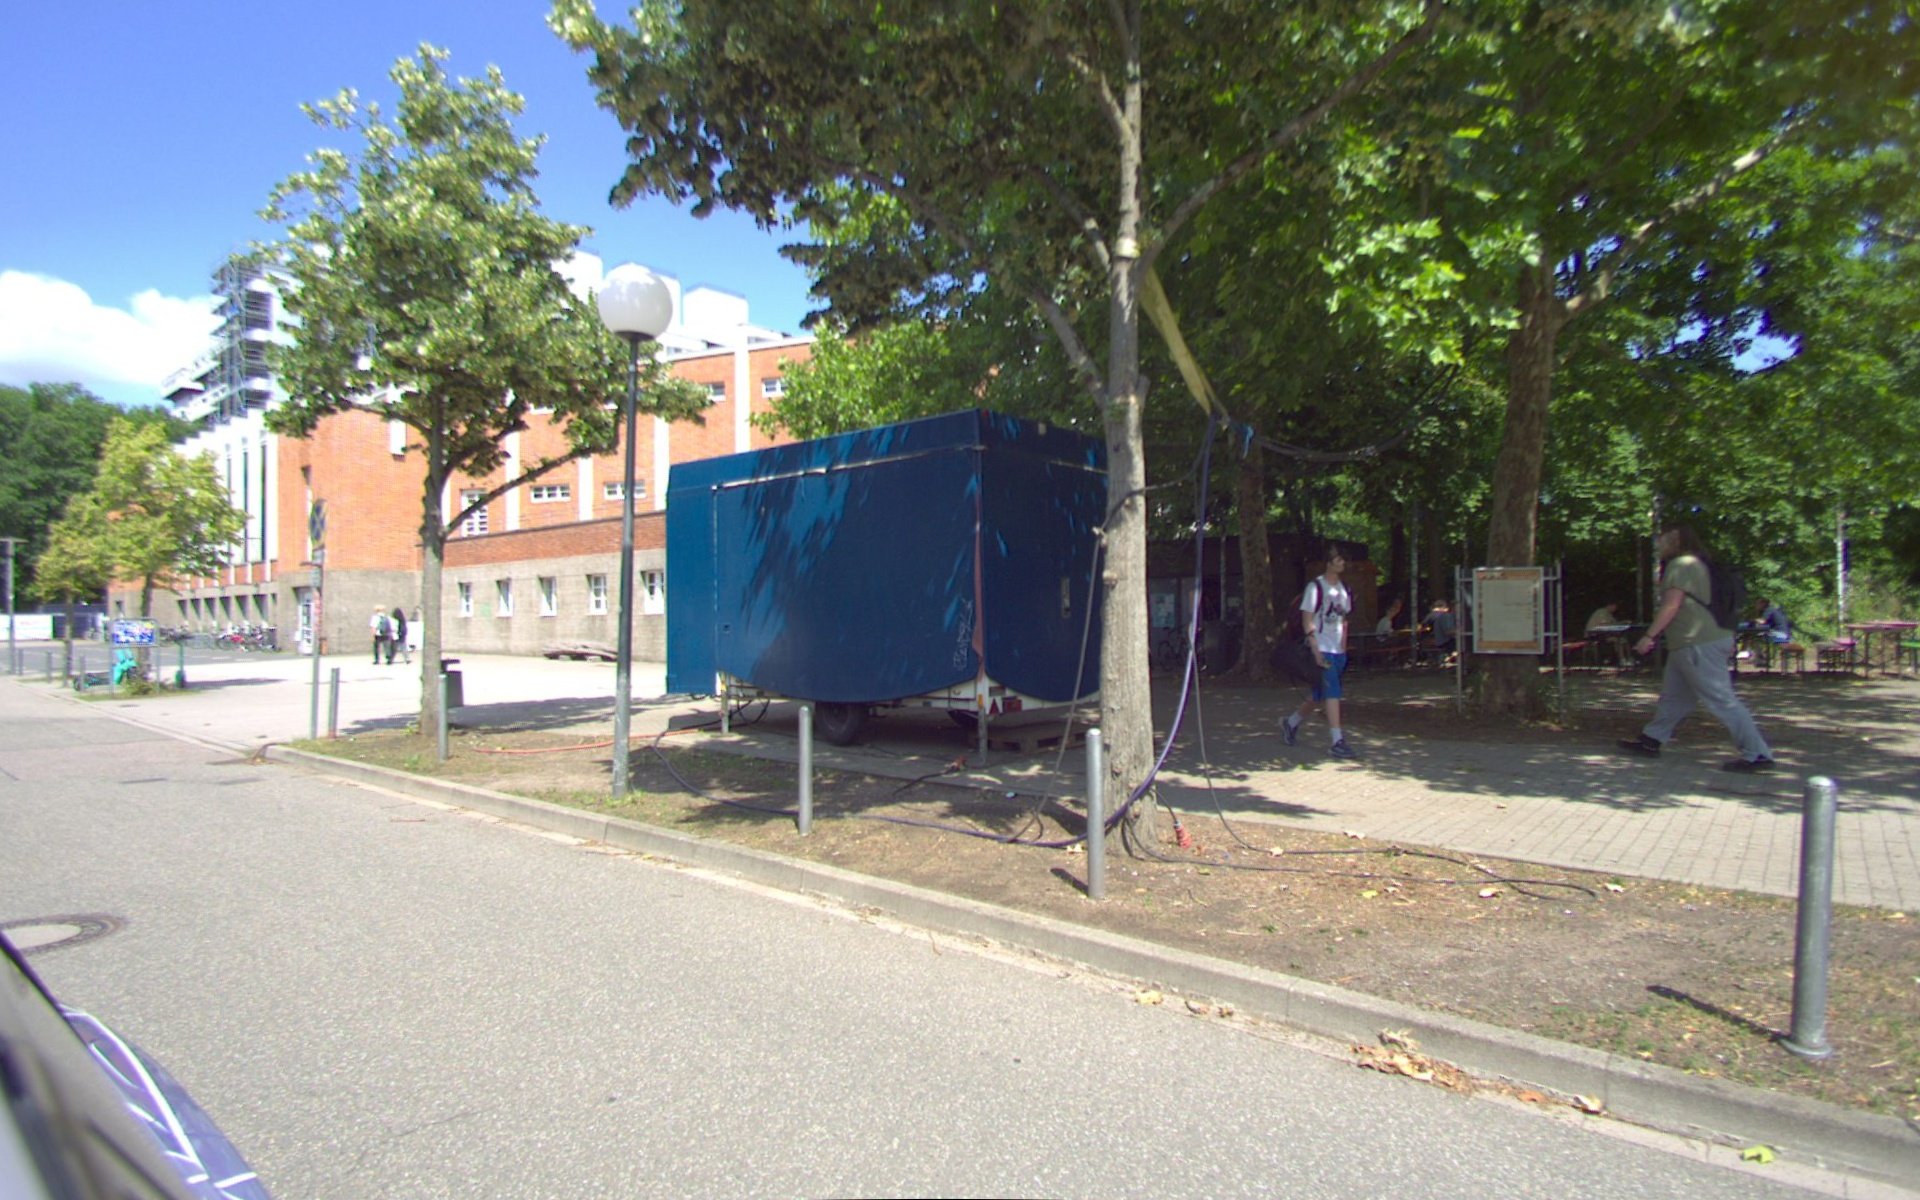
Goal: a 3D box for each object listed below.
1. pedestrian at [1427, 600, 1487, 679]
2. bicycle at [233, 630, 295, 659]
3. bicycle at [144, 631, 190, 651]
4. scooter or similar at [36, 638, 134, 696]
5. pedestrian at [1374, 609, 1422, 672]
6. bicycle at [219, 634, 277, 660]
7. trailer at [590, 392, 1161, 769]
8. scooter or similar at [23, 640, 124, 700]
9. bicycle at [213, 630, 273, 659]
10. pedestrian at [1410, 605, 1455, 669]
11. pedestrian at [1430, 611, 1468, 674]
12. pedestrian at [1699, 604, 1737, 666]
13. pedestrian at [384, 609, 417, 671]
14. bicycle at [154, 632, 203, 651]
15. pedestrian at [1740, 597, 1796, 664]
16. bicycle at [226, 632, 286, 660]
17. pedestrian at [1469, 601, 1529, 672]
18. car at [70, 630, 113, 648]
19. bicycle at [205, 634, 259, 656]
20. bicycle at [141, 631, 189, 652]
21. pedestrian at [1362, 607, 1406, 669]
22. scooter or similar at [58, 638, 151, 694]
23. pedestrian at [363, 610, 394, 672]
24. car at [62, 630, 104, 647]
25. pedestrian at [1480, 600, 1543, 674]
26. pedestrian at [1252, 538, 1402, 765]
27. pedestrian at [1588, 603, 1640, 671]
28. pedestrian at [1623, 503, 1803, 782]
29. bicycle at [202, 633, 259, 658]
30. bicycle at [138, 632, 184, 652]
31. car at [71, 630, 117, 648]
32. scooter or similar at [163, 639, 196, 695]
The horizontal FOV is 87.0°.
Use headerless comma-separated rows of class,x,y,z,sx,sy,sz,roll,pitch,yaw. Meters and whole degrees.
pedestrian,8.937,0.702,18.215,0.733,1.379,0.594,-3,-1,6
bicycle,-28.423,1.815,41.349,0.666,1.134,2.001,-2,-1,39
bicycle,-43.615,2.245,55.672,0.518,1.038,1.931,-2,-1,39
scooter or similar,-19.448,1.476,22.525,1.548,1.234,0.567,0,-1,-22
pedestrian,9.626,0.881,22.231,0.778,1.333,0.680,-2,-2,42
bicycle,-31.325,2.053,44.531,0.621,1.090,1.990,-2,-1,39
trailer,-1.225,-0.116,11.245,6.262,3.049,2.669,-1,0,41
scooter or similar,-19.137,1.495,21.877,1.548,1.234,0.526,0,-1,-22
bicycle,-30.500,1.882,43.070,0.439,1.134,1.999,-2,0,44
pedestrian,9.720,0.752,20.831,0.693,1.281,0.554,-2,-1,41
pedestrian,10.492,0.900,21.705,0.559,1.333,0.638,-2,-2,42
pedestrian,14.196,0.654,18.951,0.505,1.148,0.333,-1,-1,30
pedestrian,-16.523,1.165,29.888,0.917,1.793,0.570,-1,-1,40
bicycle,-40.814,2.180,52.870,0.568,0.948,1.931,-2,-1,39
pedestrian,14.836,0.558,18.588,0.728,1.203,0.388,-1,-1,31
bicycle,-29.730,1.920,42.748,0.592,1.134,2.000,-2,-1,41
pedestrian,9.787,0.651,18.391,0.733,1.243,0.594,-3,-1,6
car,-61.536,2.742,71.731,0.524,1.189,2.259,-2,-1,42
bicycle,-33.838,2.079,47.051,0.684,0.967,1.931,-2,-1,39
bicycle,-42.055,2.174,53.545,0.529,1.038,1.931,-2,-1,39
pedestrian,8.992,0.807,21.475,0.693,1.281,0.554,-2,-1,41
scooter or similar,-19.819,1.508,23.476,1.548,1.234,0.572,0,-1,-22
pedestrian,-16.965,1.186,29.519,0.805,1.775,0.557,-1,-1,40
car,-63.464,2.804,73.249,0.479,1.189,2.294,-2,-1,42
pedestrian,9.675,0.649,17.778,0.733,1.243,0.594,-3,-1,6
pedestrian,3.207,0.426,8.844,0.986,1.844,0.791,-2,-1,41
pedestrian,12.339,0.696,19.110,0.764,1.260,0.565,-1,-1,29
pedestrian,5.792,0.290,7.787,0.906,1.969,0.893,-2,1,-40
bicycle,-32.782,2.050,45.499,0.662,1.069,2.001,-2,-1,39
bicycle,-44.273,2.314,56.092,0.541,1.038,1.931,-2,-1,39
car,-60.351,2.693,70.567,0.794,1.189,2.337,-2,-1,42
scooter or similar,-17.402,1.477,22.571,0.556,1.158,1.352,0,-1,-37
